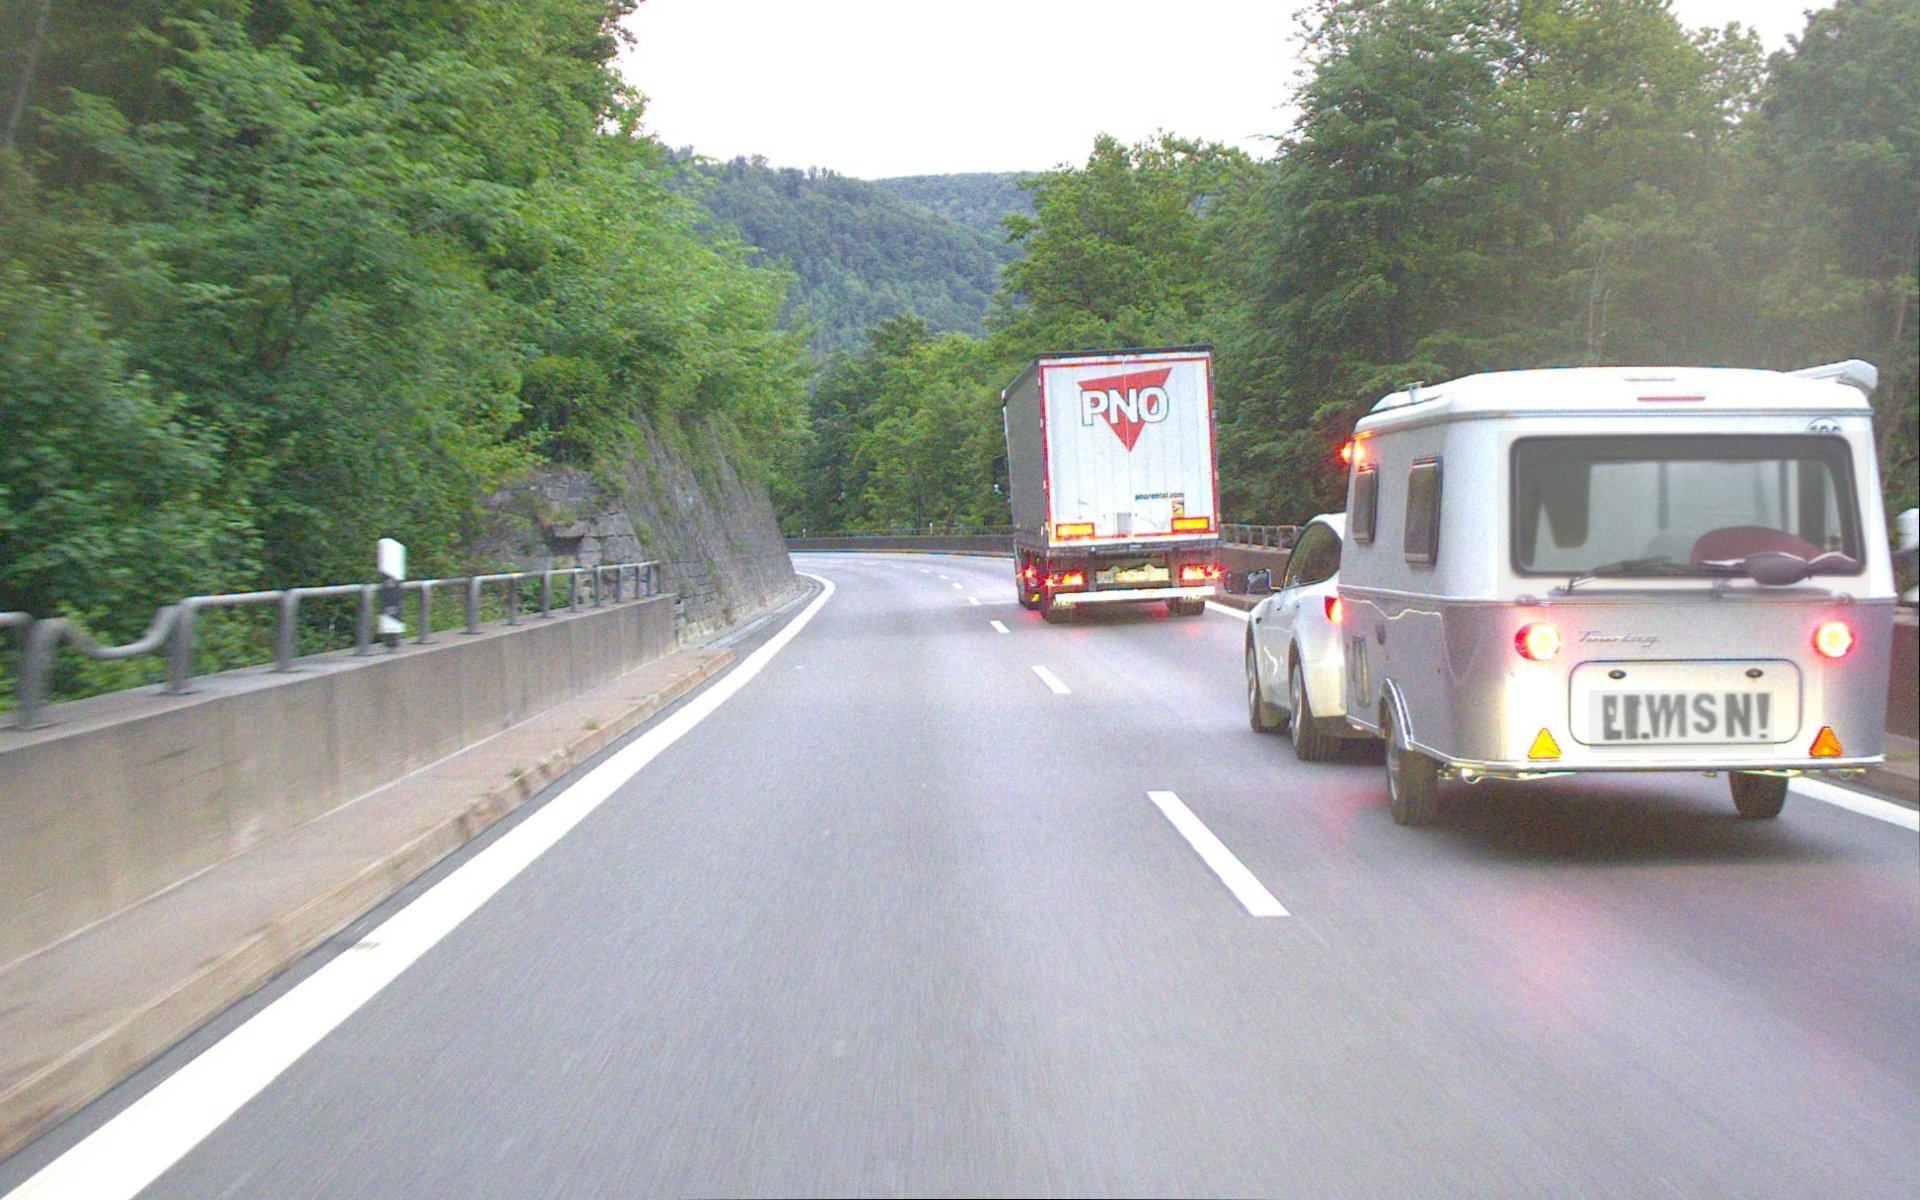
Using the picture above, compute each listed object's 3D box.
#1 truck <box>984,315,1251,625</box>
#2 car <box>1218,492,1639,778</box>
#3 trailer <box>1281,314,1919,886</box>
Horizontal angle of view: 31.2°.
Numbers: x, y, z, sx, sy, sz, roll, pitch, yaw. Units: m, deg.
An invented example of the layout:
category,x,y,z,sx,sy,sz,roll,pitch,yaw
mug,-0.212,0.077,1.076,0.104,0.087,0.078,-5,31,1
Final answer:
category,x,y,z,sx,sy,sz,roll,pitch,yaw
truck,2.304,-1.999,57.170,3.295,4.158,16.504,-4,1,0
car,2.999,0.168,23.094,1.993,1.609,4.865,-3,1,-1
trailer,3.098,-0.064,17.928,2.054,2.366,5.938,-4,1,-1
